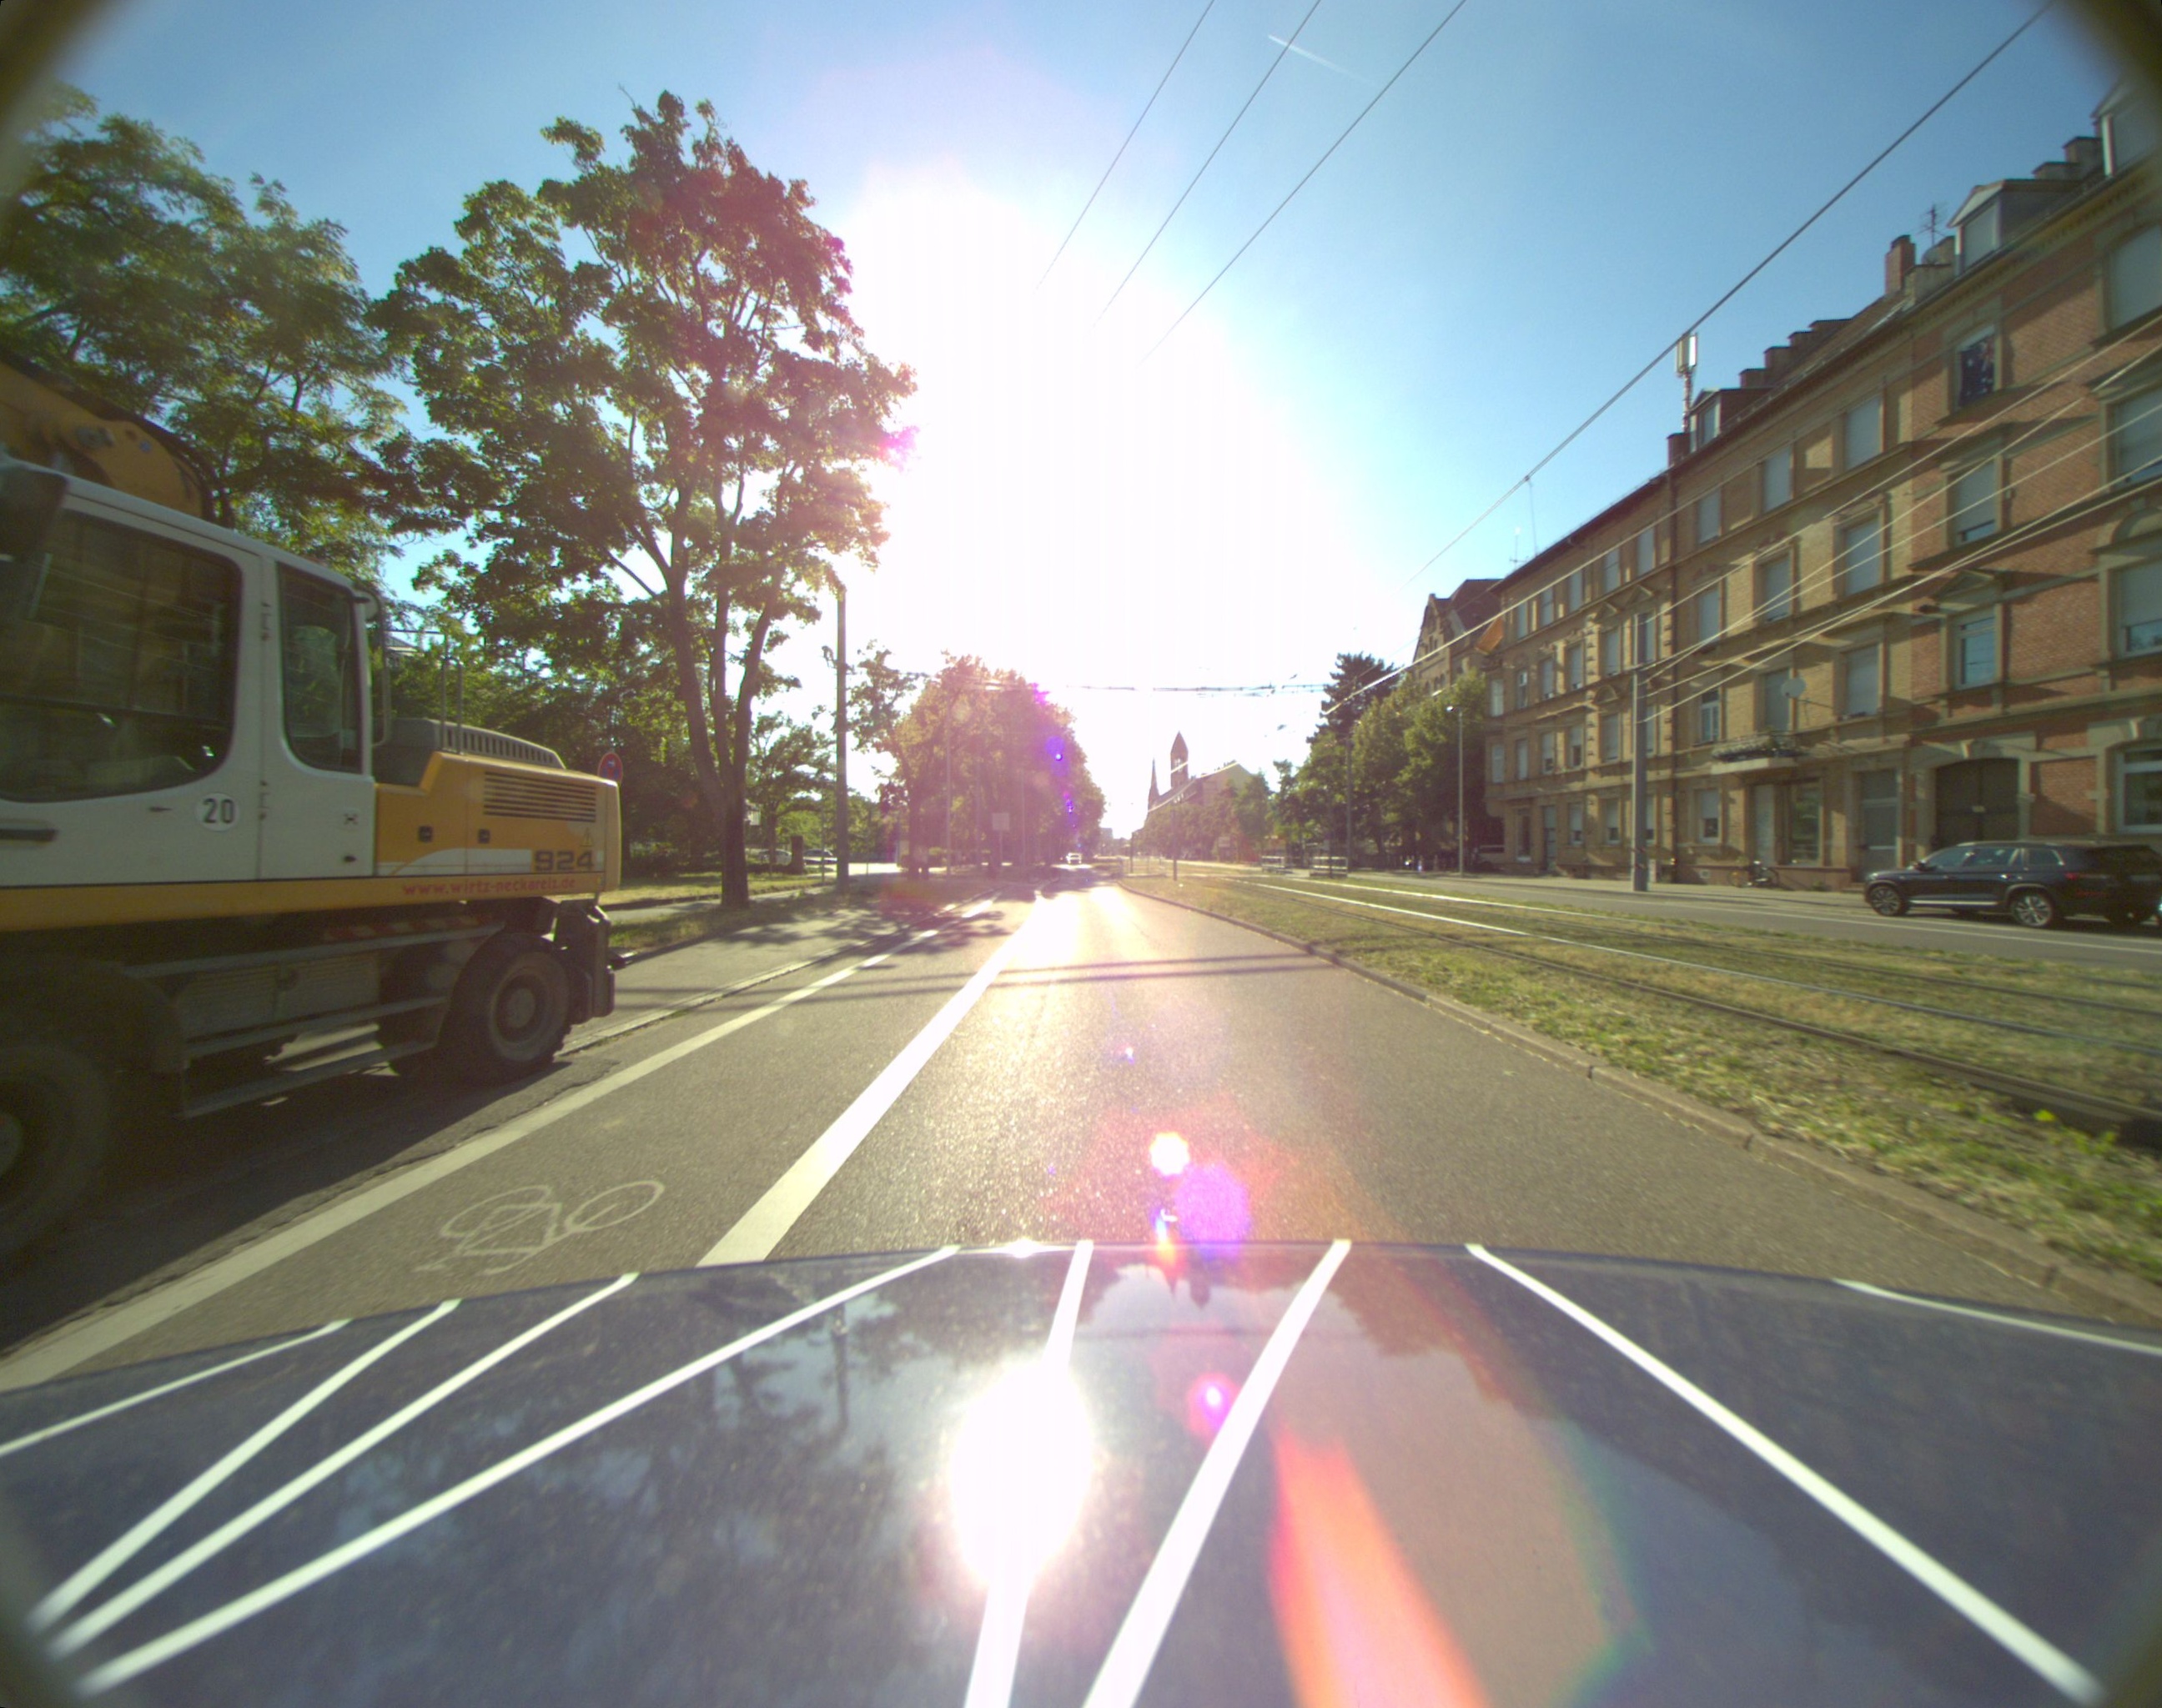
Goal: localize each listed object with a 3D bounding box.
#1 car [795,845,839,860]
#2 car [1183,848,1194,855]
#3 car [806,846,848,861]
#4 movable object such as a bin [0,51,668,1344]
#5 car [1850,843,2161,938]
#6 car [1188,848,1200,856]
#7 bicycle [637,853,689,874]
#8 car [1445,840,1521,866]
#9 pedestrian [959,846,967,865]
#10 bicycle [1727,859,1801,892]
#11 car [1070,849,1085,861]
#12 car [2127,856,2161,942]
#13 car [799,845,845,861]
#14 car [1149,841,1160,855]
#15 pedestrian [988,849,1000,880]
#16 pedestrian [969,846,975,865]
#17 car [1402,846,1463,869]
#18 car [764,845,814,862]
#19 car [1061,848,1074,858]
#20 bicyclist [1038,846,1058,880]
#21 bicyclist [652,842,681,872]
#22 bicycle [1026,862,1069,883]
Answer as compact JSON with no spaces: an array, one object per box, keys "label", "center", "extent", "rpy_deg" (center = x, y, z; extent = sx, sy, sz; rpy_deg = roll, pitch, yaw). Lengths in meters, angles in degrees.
[{"label":"car","center":[-28.277,-0.166,81.504],"extent":[4.393,1.616,1.797],"rpy_deg":[0,1,-21]},{"label":"car","center":[22.527,-0.509,158.965],"extent":[1.799,1.501,3.999],"rpy_deg":[0,1,0]},{"label":"car","center":[-28.250,-0.029,84.426],"extent":[4.393,1.616,1.797],"rpy_deg":[0,1,-21]},{"label":"movable object such as a bin","center":[-5.313,-0.565,3.185],"extent":[2.922,4.584,7.597],"rpy_deg":[2,1,0]},{"label":"car","center":[19.143,0.622,15.807],"extent":[1.798,1.633,4.631],"rpy_deg":[-2,0,4]},{"label":"car","center":[22.041,-0.457,148.344],"extent":[1.799,1.501,3.999],"rpy_deg":[0,1,0]},{"label":"bicycle","center":[-21.620,0.478,39.316],"extent":[2.291,1.050,0.618],"rpy_deg":[0,1,-14]},{"label":"car","center":[30.677,-0.087,58.194],"extent":[5.058,1.814,2.026],"rpy_deg":[-1,2,26]},{"label":"pedestrian","center":[-11.297,0.131,72.864],"extent":[0.645,1.830,0.565],"rpy_deg":[0,1,-1]},{"label":"bicycle","center":[22.625,0.688,25.220],"extent":[0.591,0.998,2.010],"rpy_deg":[-2,1,-1]},{"label":"car","center":[-0.424,0.152,99.126],"extent":[1.798,1.501,4.000],"rpy_deg":[-2,0,1]},{"label":"car","center":[19.004,0.754,11.334],"extent":[1.663,1.437,3.765],"rpy_deg":[-2,1,2]},{"label":"car","center":[-26.862,-0.114,78.751],"extent":[4.393,1.616,1.797],"rpy_deg":[0,1,-21]},{"label":"car","center":[14.323,-1.229,148.628],"extent":[1.798,2.766,4.000],"rpy_deg":[0,1,1]},{"label":"pedestrian","center":[-4.662,0.572,40.685],"extent":[0.532,1.653,0.486],"rpy_deg":[1,1,-21]},{"label":"pedestrian","center":[-10.455,0.137,72.844],"extent":[0.502,1.830,0.565],"rpy_deg":[0,1,0]},{"label":"car","center":[26.089,0.258,56.515],"extent":[3.991,1.502,1.802],"rpy_deg":[-2,2,23]},{"label":"car","center":[-26.822,-0.080,69.813],"extent":[4.153,1.501,1.797],"rpy_deg":[0,1,-17]},{"label":"car","center":[-2.167,-0.216,121.229],"extent":[1.798,1.501,4.000],"rpy_deg":[-2,0,1]},{"label":"bicyclist","center":[-1.729,0.449,39.467],"extent":[0.747,1.704,0.721],"rpy_deg":[-3,1,-22]},{"label":"bicyclist","center":[-21.460,0.151,39.348],"extent":[1.207,1.531,0.618],"rpy_deg":[0,1,-14]},{"label":"bicycle","center":[-1.731,0.959,39.458],"extent":[2.064,0.973,0.721],"rpy_deg":[-3,1,-22]}]
